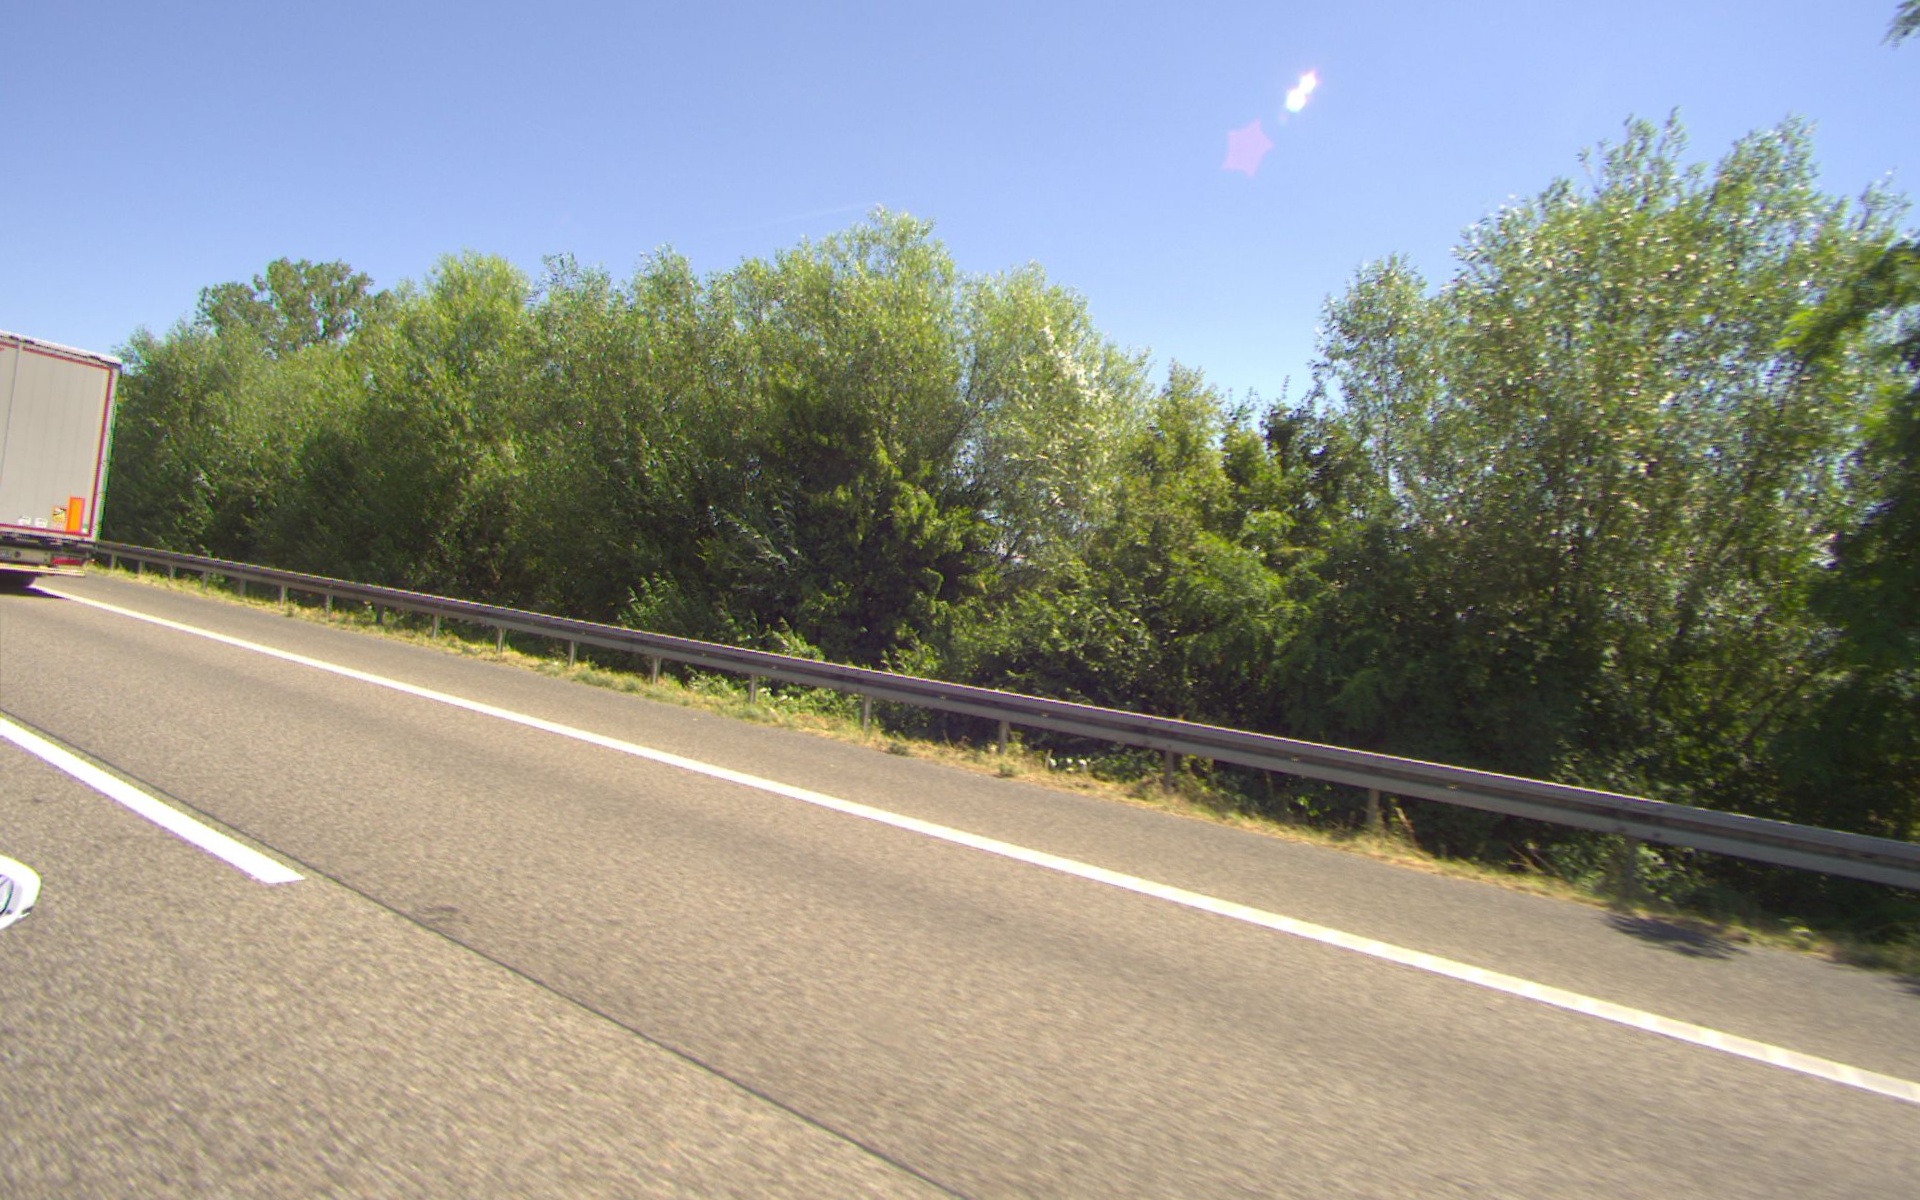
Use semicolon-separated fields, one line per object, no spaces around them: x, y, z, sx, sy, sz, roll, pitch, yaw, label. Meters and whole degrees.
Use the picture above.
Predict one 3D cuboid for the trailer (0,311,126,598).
-20.085;-2.821;19.020;12.997;4.269;2.705;6;1;33;trailer
